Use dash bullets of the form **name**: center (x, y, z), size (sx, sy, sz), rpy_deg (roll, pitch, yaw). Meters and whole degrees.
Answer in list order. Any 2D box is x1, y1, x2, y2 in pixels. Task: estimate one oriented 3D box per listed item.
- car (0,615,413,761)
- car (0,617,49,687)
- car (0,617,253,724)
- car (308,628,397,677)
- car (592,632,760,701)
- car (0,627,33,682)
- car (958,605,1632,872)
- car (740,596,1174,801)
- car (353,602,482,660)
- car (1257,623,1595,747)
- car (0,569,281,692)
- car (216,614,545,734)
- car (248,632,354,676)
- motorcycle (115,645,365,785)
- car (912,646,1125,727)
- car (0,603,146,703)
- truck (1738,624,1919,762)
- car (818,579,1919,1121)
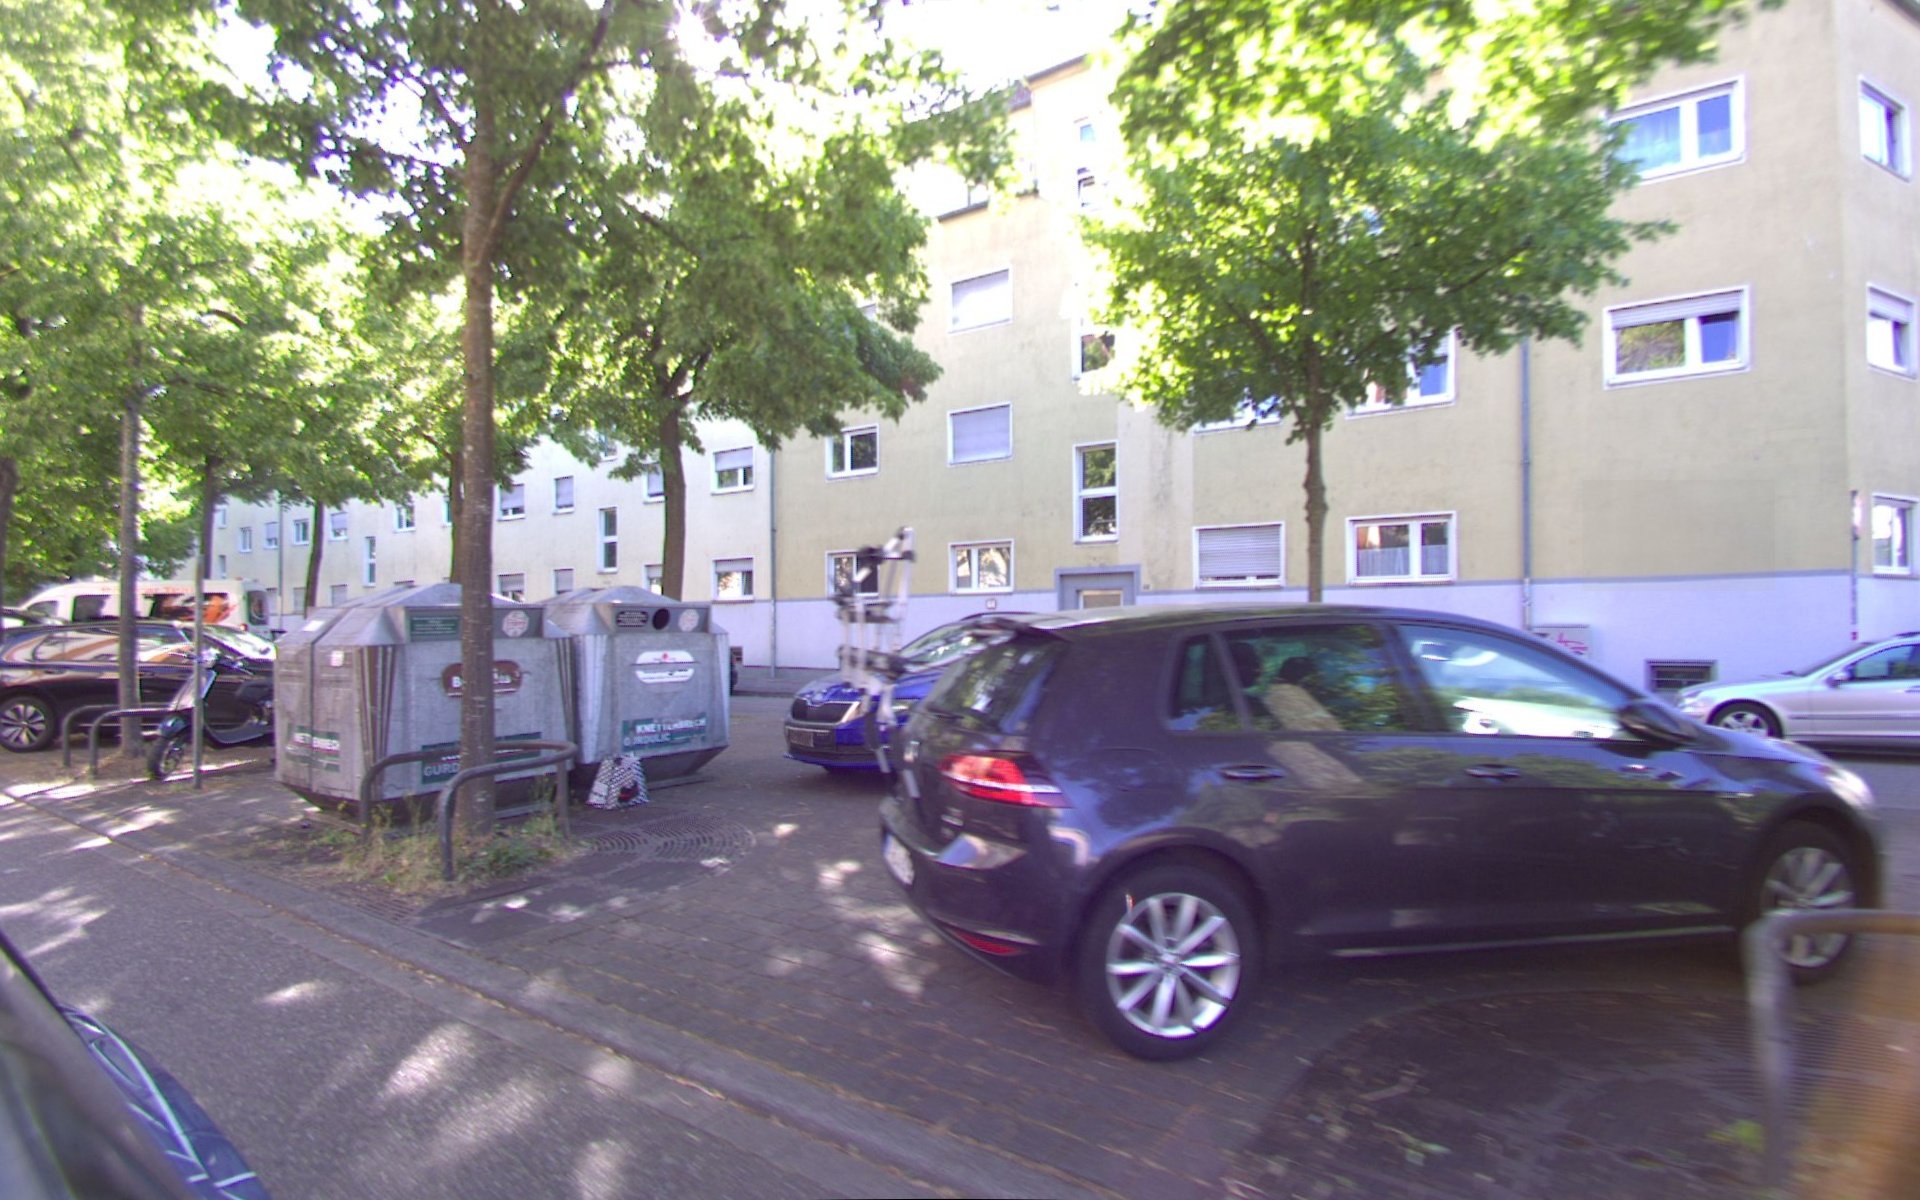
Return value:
- **car**: center (-9.129, 0.983, 12.234), size (4.085, 1.566, 1.837), rpy_deg (0, -2, -12)
- **car**: center (-24.891, 1.306, 24.243), size (4.202, 1.654, 1.660), rpy_deg (-2, 0, -21)
- **car**: center (-13.985, 1.096, 16.571), size (3.673, 1.594, 1.642), rpy_deg (0, -1, -22)
- **car**: center (-21.174, 1.819, 35.263), size (3.177, 1.571, 1.462), rpy_deg (-2, 0, 35)
- **car**: center (-7.048, 1.577, 24.976), size (4.135, 1.506, 1.759), rpy_deg (-1, 0, 34)
- **car**: center (-28.818, 1.555, 28.210), size (4.038, 1.492, 1.737), rpy_deg (0, -1, -23)
- **car**: center (2.131, 0.764, 6.783), size (3.932, 1.414, 1.792), rpy_deg (0, -2, -16)
- **car**: center (0.086, 0.760, 9.164), size (3.740, 1.477, 1.647), rpy_deg (1, -2, -40)
- **car**: center (-17.195, 1.015, 32.036), size (4.547, 1.736, 1.726), rpy_deg (-2, -3, 35)
- **car**: center (6.537, 1.116, 14.408), size (4.156, 1.538, 1.516), rpy_deg (-2, -2, 35)
- **car**: center (-19.672, 0.759, 23.515), size (5.980, 2.643, 2.463), rpy_deg (1, -4, -20)
- **car**: center (-8.754, 1.012, 15.496), size (4.041, 1.477, 1.868), rpy_deg (-2, 0, -44)
- **car**: center (-24.732, 2.010, 37.931), size (4.150, 1.577, 1.876), rpy_deg (-2, -3, 34)
- **motorcycle**: center (-6.827, 1.033, 9.724), size (0.516, 1.180, 1.926), rpy_deg (-1, -2, 28)
- **car**: center (1.027, 1.526, 18.511), size (3.634, 1.331, 1.571), rpy_deg (-2, -4, 36)
- **car**: center (-18.975, 1.054, 20.250), size (3.785, 1.903, 1.849), rpy_deg (-1, -2, -18)
- **truck**: center (10.784, 0.991, 11.128), size (3.405, 1.447, 1.517), rpy_deg (-2, -2, 35)
- **car**: center (1.560, 0.684, 4.128), size (4.073, 1.493, 1.780), rpy_deg (0, 0, -13)
